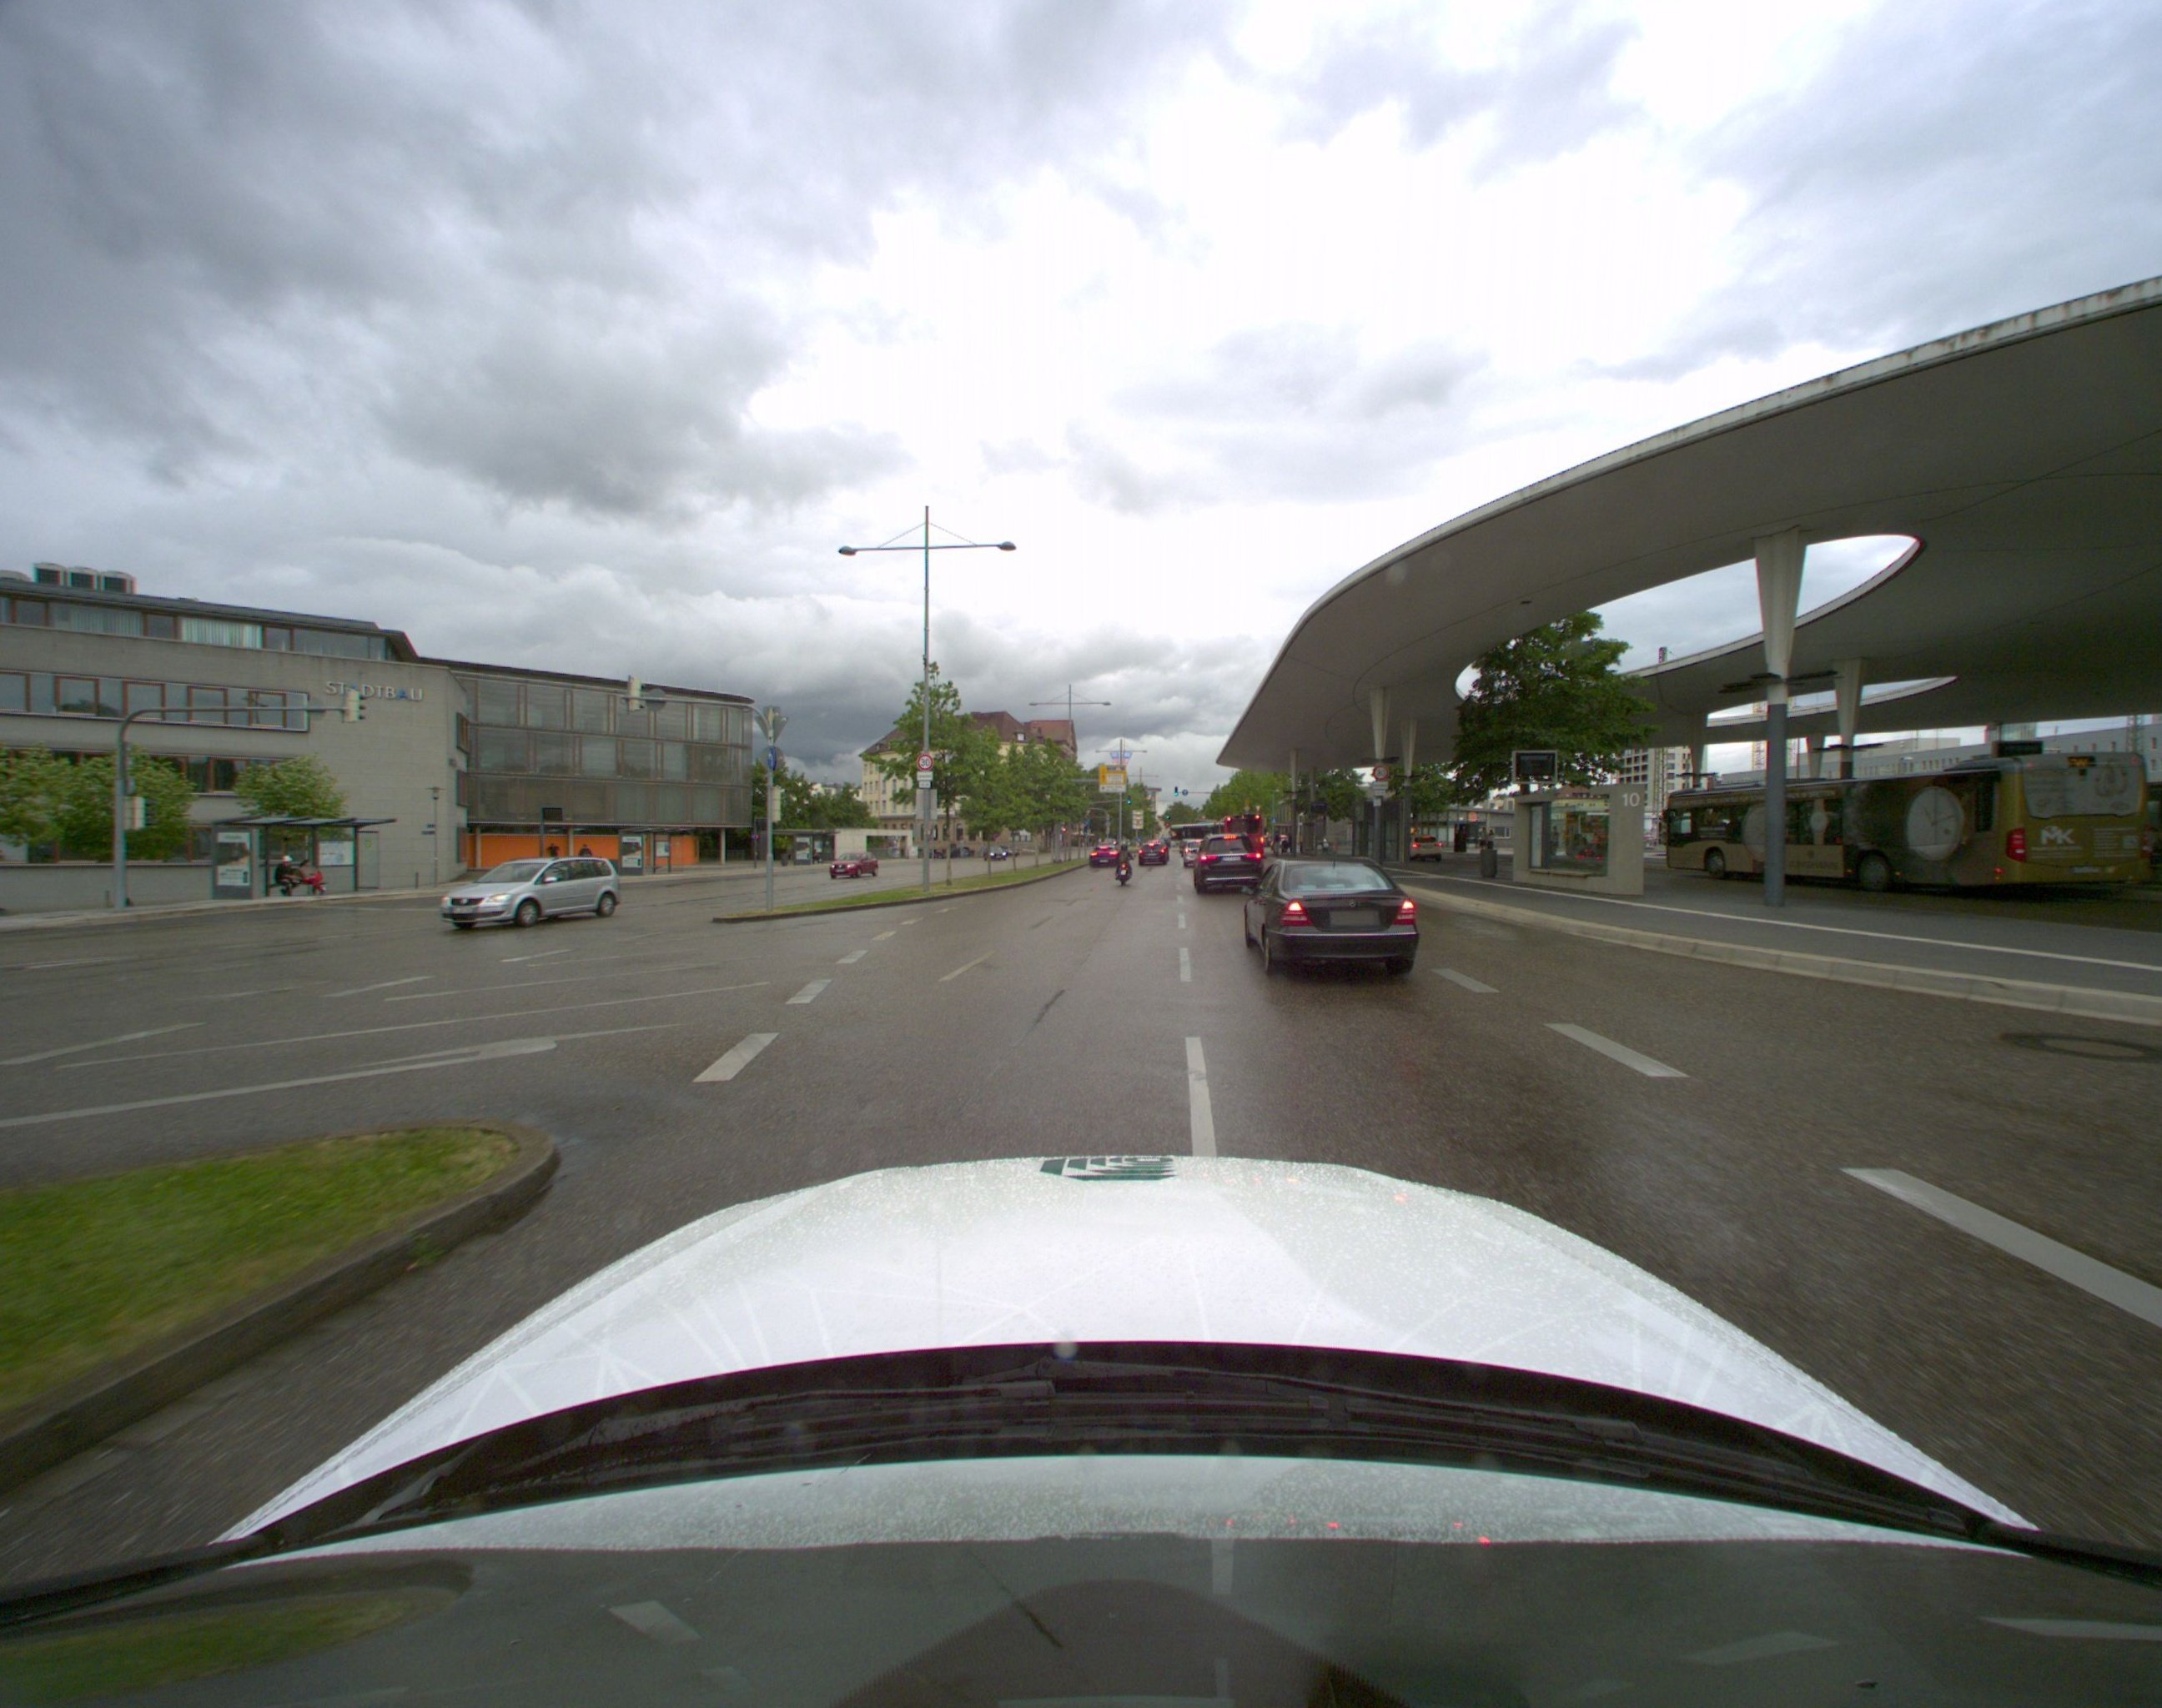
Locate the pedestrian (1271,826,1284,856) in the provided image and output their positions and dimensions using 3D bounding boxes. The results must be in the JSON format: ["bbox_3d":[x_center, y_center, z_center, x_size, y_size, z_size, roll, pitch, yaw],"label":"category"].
[{"bbox_3d":[13.692,-0.899,56.733,0.771,2.013,0.786,2,2,19],"label":"pedestrian"}]

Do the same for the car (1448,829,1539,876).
[{"bbox_3d":[13.832,-0.081,27.509,1.639,1.453,3.242,-1,1,5],"label":"car"}]

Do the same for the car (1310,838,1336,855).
[{"bbox_3d":[23.423,-0.755,78.988,1.703,1.662,4.247,0,1,6],"label":"car"}]

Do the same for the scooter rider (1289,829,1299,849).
[{"bbox_3d":[15.581,-1.108,59.653,0.586,1.490,0.768,-1,0,20],"label":"scooter rider"}]

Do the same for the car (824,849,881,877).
[{"bbox_3d":[-13.538,0.506,48.489,1.812,1.552,4.041,-1,1,8],"label":"car"}]

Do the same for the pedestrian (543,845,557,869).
[{"bbox_3d":[-37.634,0.204,57.707,0.469,1.684,0.647,-1,1,37],"label":"pedestrian"}]

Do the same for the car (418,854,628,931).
[{"bbox_3d":[-13.615,0.857,20.274,1.837,1.652,4.427,-1,0,6],"label":"car"}]

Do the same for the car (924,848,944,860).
[{"bbox_3d":[-20.994,-0.018,116.612,1.669,1.604,3.220,-5,2,-31],"label":"car"}]

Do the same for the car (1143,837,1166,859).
[{"bbox_3d":[5.590,-0.477,61.625,1.567,1.567,3.878,-3,1,6],"label":"car"}]

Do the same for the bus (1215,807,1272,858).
[{"bbox_3d":[11.697,-1.555,59.562,3.268,3.291,10.901,-2,1,7],"label":"bus"}]

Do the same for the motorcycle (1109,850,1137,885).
[{"bbox_3d":[1.622,0.501,31.237,0.788,1.262,1.860,-3,1,10],"label":"motorcycle"}]

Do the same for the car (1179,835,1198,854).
[{"bbox_3d":[9.419,-0.857,71.586,1.567,1.567,3.878,-3,1,6],"label":"car"}]

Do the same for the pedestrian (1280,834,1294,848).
[{"bbox_3d":[15.106,-0.975,59.788,0.905,0.985,0.637,0,-3,20],"label":"pedestrian"}]

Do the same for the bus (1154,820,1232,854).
[{"bbox_3d":[13.482,-1.975,99.503,2.855,3.987,11.751,-1,1,-30],"label":"bus"}]

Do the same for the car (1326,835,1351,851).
[{"bbox_3d":[26.364,-1.171,83.441,1.535,1.559,3.411,3,1,2],"label":"car"}]

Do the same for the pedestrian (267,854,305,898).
[{"bbox_3d":[-27.508,0.761,28.193,0.675,1.469,0.627,-1,0,4],"label":"pedestrian"}]

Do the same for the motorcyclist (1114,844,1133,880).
[{"bbox_3d":[1.639,0.294,31.268,0.637,1.347,0.691,-2,1,9],"label":"motorcyclist"}]

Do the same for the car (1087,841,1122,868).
[{"bbox_3d":[1.571,-0.020,52.370,1.807,1.570,4.412,-3,1,6],"label":"car"}]

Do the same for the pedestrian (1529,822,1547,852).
[{"bbox_3d":[27.602,-1.014,49.150,0.703,1.707,0.771,-5,2,19],"label":"pedestrian"}]

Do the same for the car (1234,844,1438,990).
[{"bbox_3d":[3.117,0.658,10.831,1.689,1.462,4.310,-2,1,5],"label":"car"}]

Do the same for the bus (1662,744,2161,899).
[{"bbox_3d":[21.160,-0.753,22.511,2.707,3.043,12.112,-2,1,6],"label":"bus"}]

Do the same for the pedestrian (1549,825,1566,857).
[{"bbox_3d":[25.427,-0.686,43.481,0.558,1.691,0.613,0,1,-1],"label":"pedestrian"}]

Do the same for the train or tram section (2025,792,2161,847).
[{"bbox_3d":[76.887,-2.418,59.483,3.116,3.677,11.636,3,1,6],"label":"train or tram section"}]

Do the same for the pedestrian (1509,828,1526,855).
[{"bbox_3d":[25.282,-0.722,47.166,0.596,1.581,0.711,-1,-1,-3],"label":"pedestrian"}]

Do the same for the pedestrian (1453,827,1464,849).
[{"bbox_3d":[27.027,-1.153,58.366,0.573,1.578,0.565,1,-3,36],"label":"pedestrian"}]

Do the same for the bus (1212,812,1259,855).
[{"bbox_3d":[12.866,-1.741,68.696,3.273,3.288,8.868,-2,1,7],"label":"bus"}]

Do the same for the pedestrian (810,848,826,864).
[{"bbox_3d":[-21.827,0.175,67.559,0.967,1.267,0.855,3,2,27],"label":"pedestrian"}]

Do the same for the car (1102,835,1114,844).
[{"bbox_3d":[4.856,-2.678,147.529,1.771,1.567,3.436,-3,1,6],"label":"car"}]

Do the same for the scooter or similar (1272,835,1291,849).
[{"bbox_3d":[14.745,-0.883,59.956,1.232,1.013,0.768,-1,0,20],"label":"scooter or similar"}]

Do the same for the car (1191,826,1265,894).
[{"bbox_3d":[4.609,0.125,26.197,1.947,1.875,4.883,-3,1,6],"label":"car"}]

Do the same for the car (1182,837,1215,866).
[{"bbox_3d":[6.887,-0.167,47.919,1.732,1.567,3.878,-3,1,6],"label":"car"}]

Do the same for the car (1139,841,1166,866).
[{"bbox_3d":[4.694,-0.073,53.173,1.567,1.504,3.879,-3,1,7],"label":"car"}]

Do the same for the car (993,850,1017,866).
[{"bbox_3d":[-7.886,0.410,84.598,1.673,1.528,4.645,-1,1,4],"label":"car"}]

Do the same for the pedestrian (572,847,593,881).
[{"bbox_3d":[-25.417,0.509,41.519,0.471,1.684,0.766,-2,1,13],"label":"pedestrian"}]

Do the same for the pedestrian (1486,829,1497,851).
[{"bbox_3d":[29.246,-0.999,58.006,0.574,1.578,0.564,1,-3,41],"label":"pedestrian"}]

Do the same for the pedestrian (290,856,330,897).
[{"bbox_3d":[-27.359,0.788,28.905,0.675,1.392,0.722,-1,0,4],"label":"pedestrian"}]

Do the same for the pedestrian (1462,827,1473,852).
[{"bbox_3d":[27.898,-1.039,58.781,0.574,1.716,0.564,1,-3,41],"label":"pedestrian"}]

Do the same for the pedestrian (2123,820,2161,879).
[{"bbox_3d":[25.539,-0.110,19.316,0.786,1.377,0.637,-1,0,23],"label":"pedestrian"}]

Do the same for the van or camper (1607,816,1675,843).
[{"bbox_3d":[50.360,-2.194,73.298,4.667,2.269,2.112,-1,0,2],"label":"van or camper"}]

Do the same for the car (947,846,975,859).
[{"bbox_3d":[-16.660,-0.199,112.780,2.129,1.776,4.344,-2,1,-36],"label":"car"}]

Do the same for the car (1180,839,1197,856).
[{"bbox_3d":[10.692,-0.656,81.405,1.567,1.567,3.803,-3,1,6],"label":"car"}]

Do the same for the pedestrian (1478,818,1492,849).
[{"bbox_3d":[27.012,-1.366,54.438,0.716,2.014,0.674,1,-3,33],"label":"pedestrian"}]

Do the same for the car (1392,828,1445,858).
[{"bbox_3d":[19.674,-0.663,47.672,1.703,1.662,4.247,0,1,5],"label":"car"}]

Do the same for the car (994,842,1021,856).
[{"bbox_3d":[-9.034,-0.584,100.211,1.876,1.684,3.963,3,-2,-29],"label":"car"}]

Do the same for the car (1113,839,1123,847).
[{"bbox_3d":[6.891,-2.076,153.486,1.567,1.567,3.436,-3,1,6],"label":"car"}]
